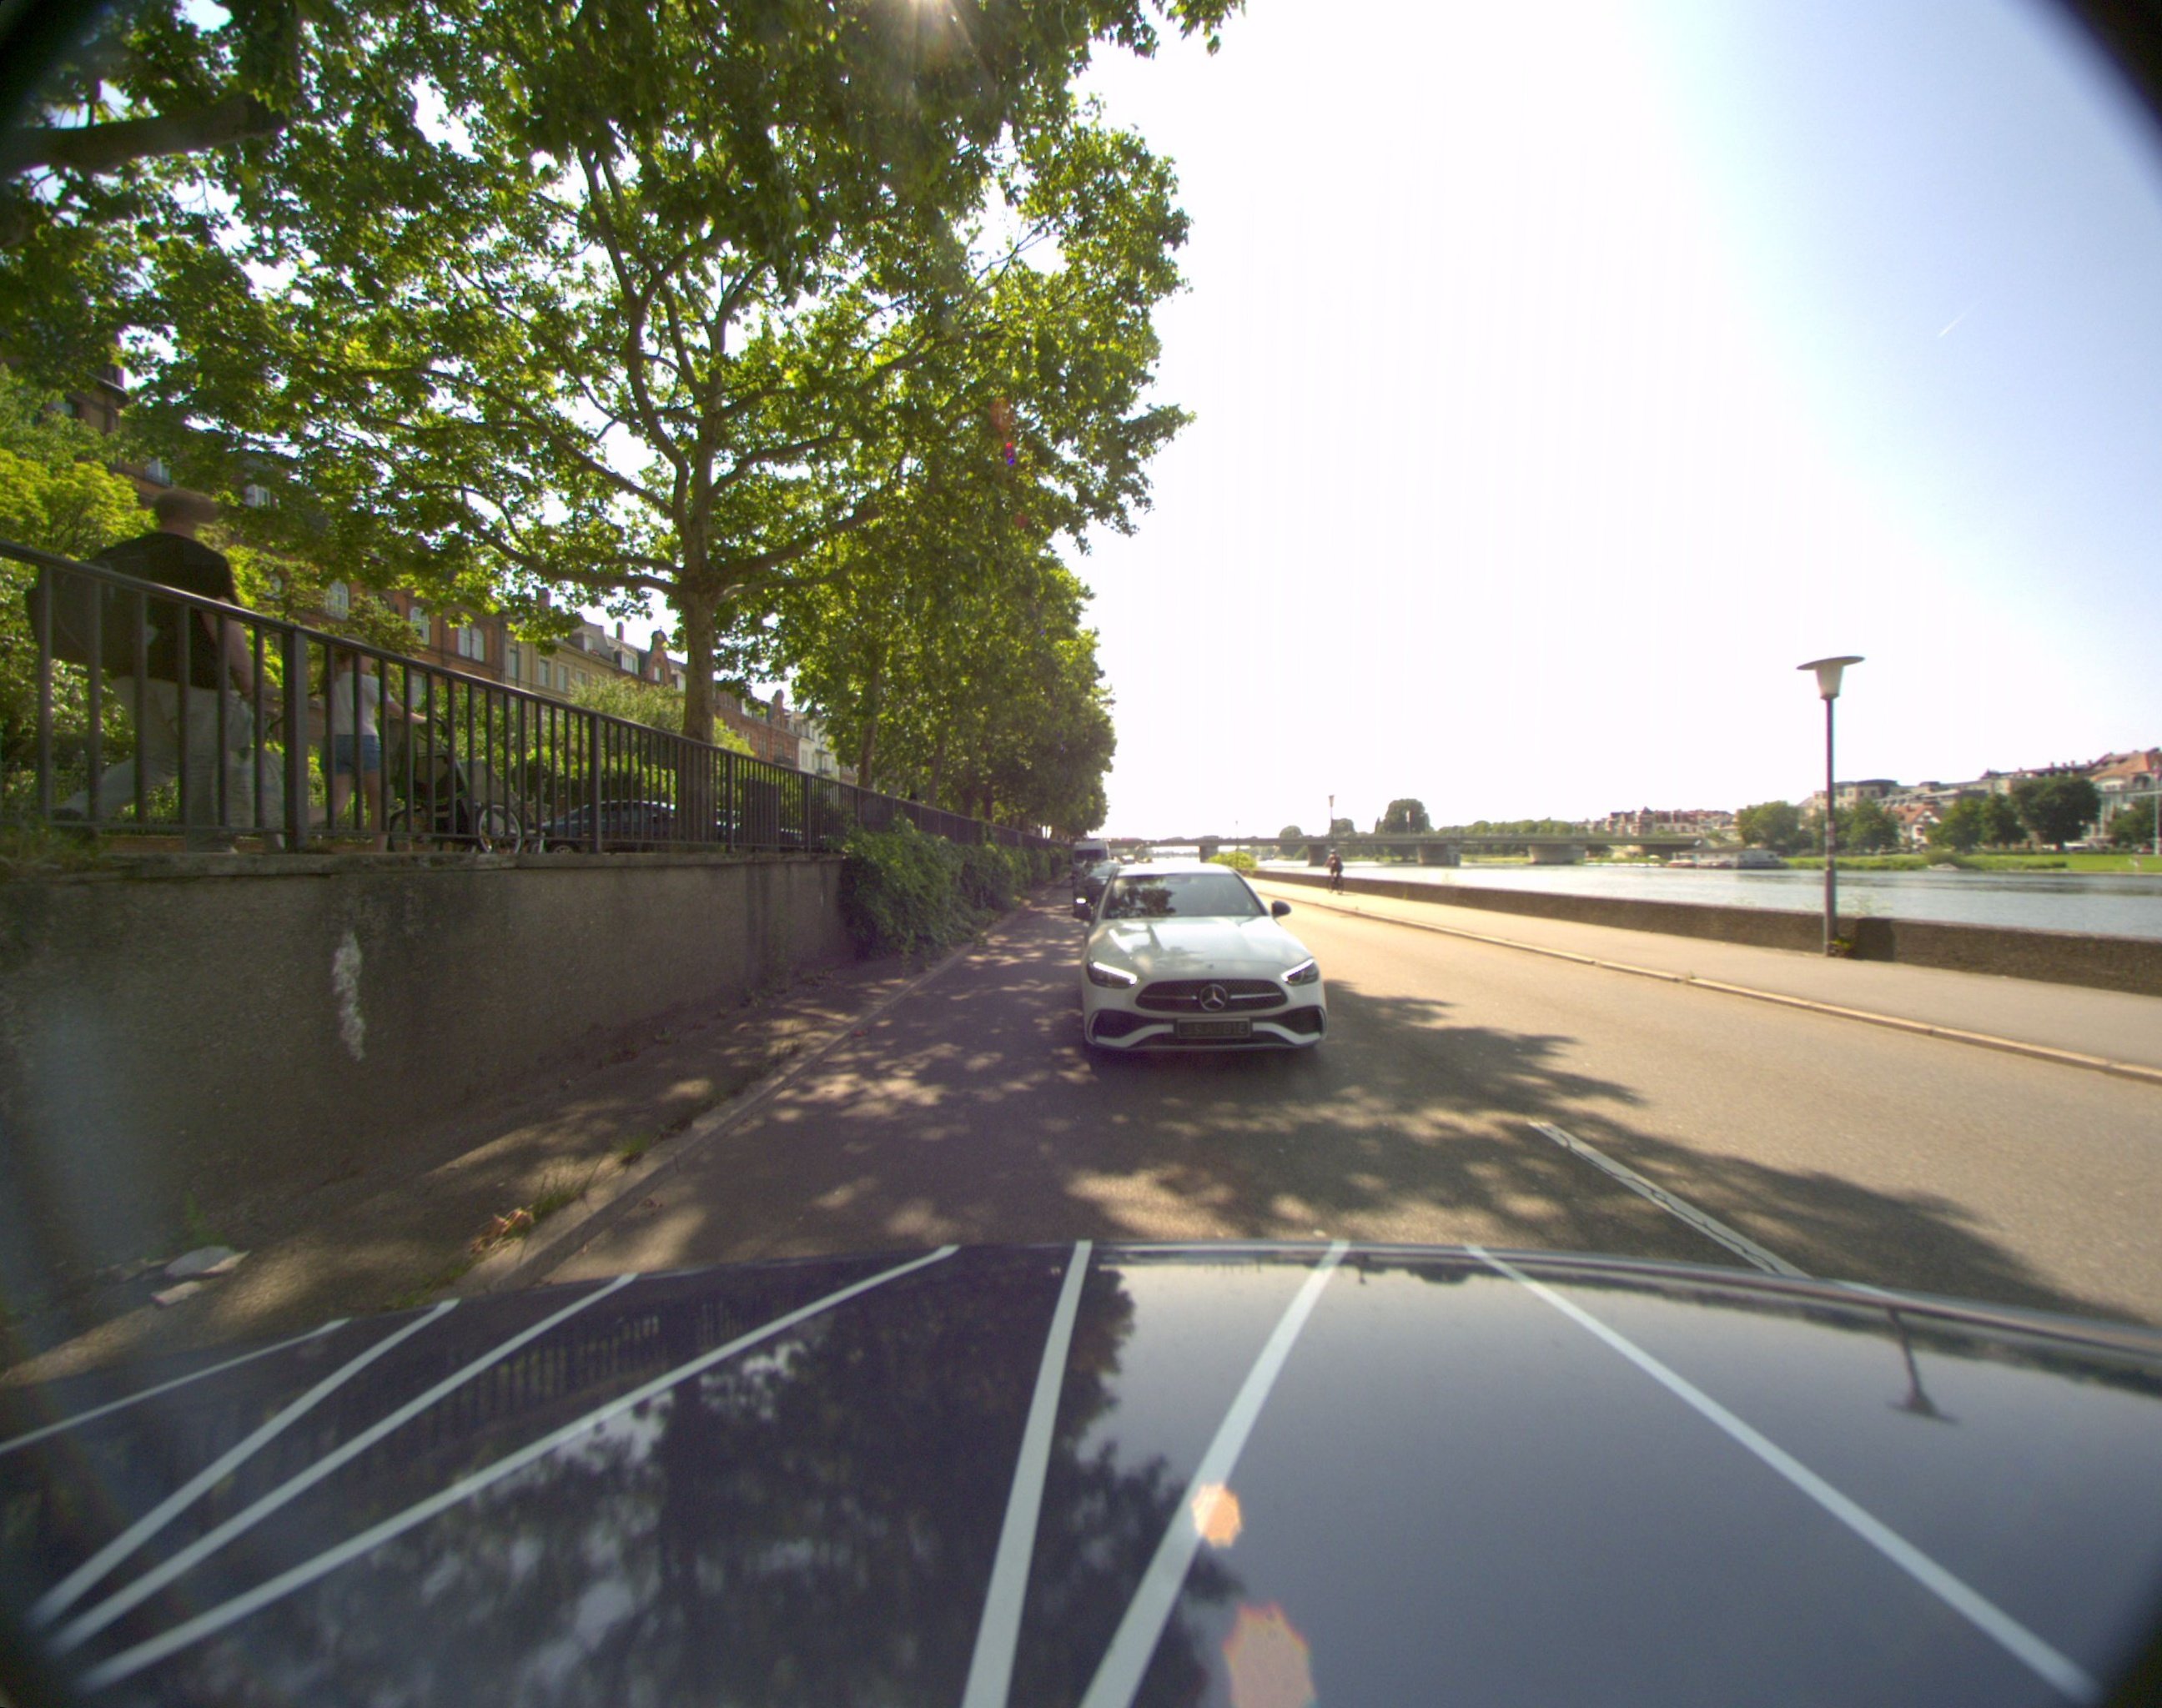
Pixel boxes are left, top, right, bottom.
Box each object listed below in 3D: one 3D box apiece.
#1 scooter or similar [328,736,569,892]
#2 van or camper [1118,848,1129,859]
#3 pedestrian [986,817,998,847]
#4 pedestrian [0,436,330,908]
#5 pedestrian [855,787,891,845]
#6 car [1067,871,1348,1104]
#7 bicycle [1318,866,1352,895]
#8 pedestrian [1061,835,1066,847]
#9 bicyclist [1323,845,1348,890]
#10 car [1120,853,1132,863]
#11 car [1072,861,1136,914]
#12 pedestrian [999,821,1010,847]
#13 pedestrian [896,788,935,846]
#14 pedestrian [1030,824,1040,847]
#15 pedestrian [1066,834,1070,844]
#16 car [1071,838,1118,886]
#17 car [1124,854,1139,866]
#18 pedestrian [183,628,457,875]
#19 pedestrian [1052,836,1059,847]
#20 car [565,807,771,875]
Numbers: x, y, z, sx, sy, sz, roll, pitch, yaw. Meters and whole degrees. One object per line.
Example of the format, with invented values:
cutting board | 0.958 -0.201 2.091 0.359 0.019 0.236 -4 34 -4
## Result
scooter or similar | -4.653 -0.271 5.693 0.857 1.020 1.107 2 0 0
van or camper | 9.106 -0.125 164.251 2.082 2.384 5.385 1 0 1
pedestrian | -4.840 -1.198 41.420 0.649 1.630 0.626 0 1 -7
pedestrian | -4.006 -0.621 3.042 0.939 1.570 1.028 2 0 -1
pedestrian | -5.096 -0.927 18.670 0.645 1.358 0.794 2 0 -1
car | 0.894 0.940 7.320 1.830 1.411 4.552 -2 0 1
bicycle | 9.555 0.976 28.671 0.634 1.006 1.986 0 0 0
pedestrian | -2.407 -1.771 105.528 0.738 1.582 0.811 0 1 1
bicyclist | 9.561 0.508 28.550 0.639 1.664 0.871 0 1 0
car | 7.453 0.649 126.373 1.736 1.640 4.177 1 0 0
car | 0.651 0.960 23.468 1.756 1.385 4.619 -1 0 0
pedestrian | -4.233 -1.097 41.807 0.586 1.411 0.589 0 1 -7
pedestrian | -4.058 -0.898 18.689 0.755 1.358 0.814 2 0 -1
pedestrian | -3.140 -1.277 51.905 0.666 1.582 0.651 0 1 1
pedestrian | -1.929 -2.236 114.654 0.666 1.582 0.765 0 1 1
car | 0.719 0.392 41.393 2.351 2.428 6.208 0 0 0
car | 6.700 0.790 101.354 1.736 1.433 4.045 1 0 0
pedestrian | -4.674 -0.574 4.752 0.682 1.358 0.989 2 0 0
pedestrian | -2.798 -1.328 82.001 0.713 1.236 0.742 0 1 0
car | -8.409 -0.262 15.573 3.528 1.228 1.515 2 0 11
